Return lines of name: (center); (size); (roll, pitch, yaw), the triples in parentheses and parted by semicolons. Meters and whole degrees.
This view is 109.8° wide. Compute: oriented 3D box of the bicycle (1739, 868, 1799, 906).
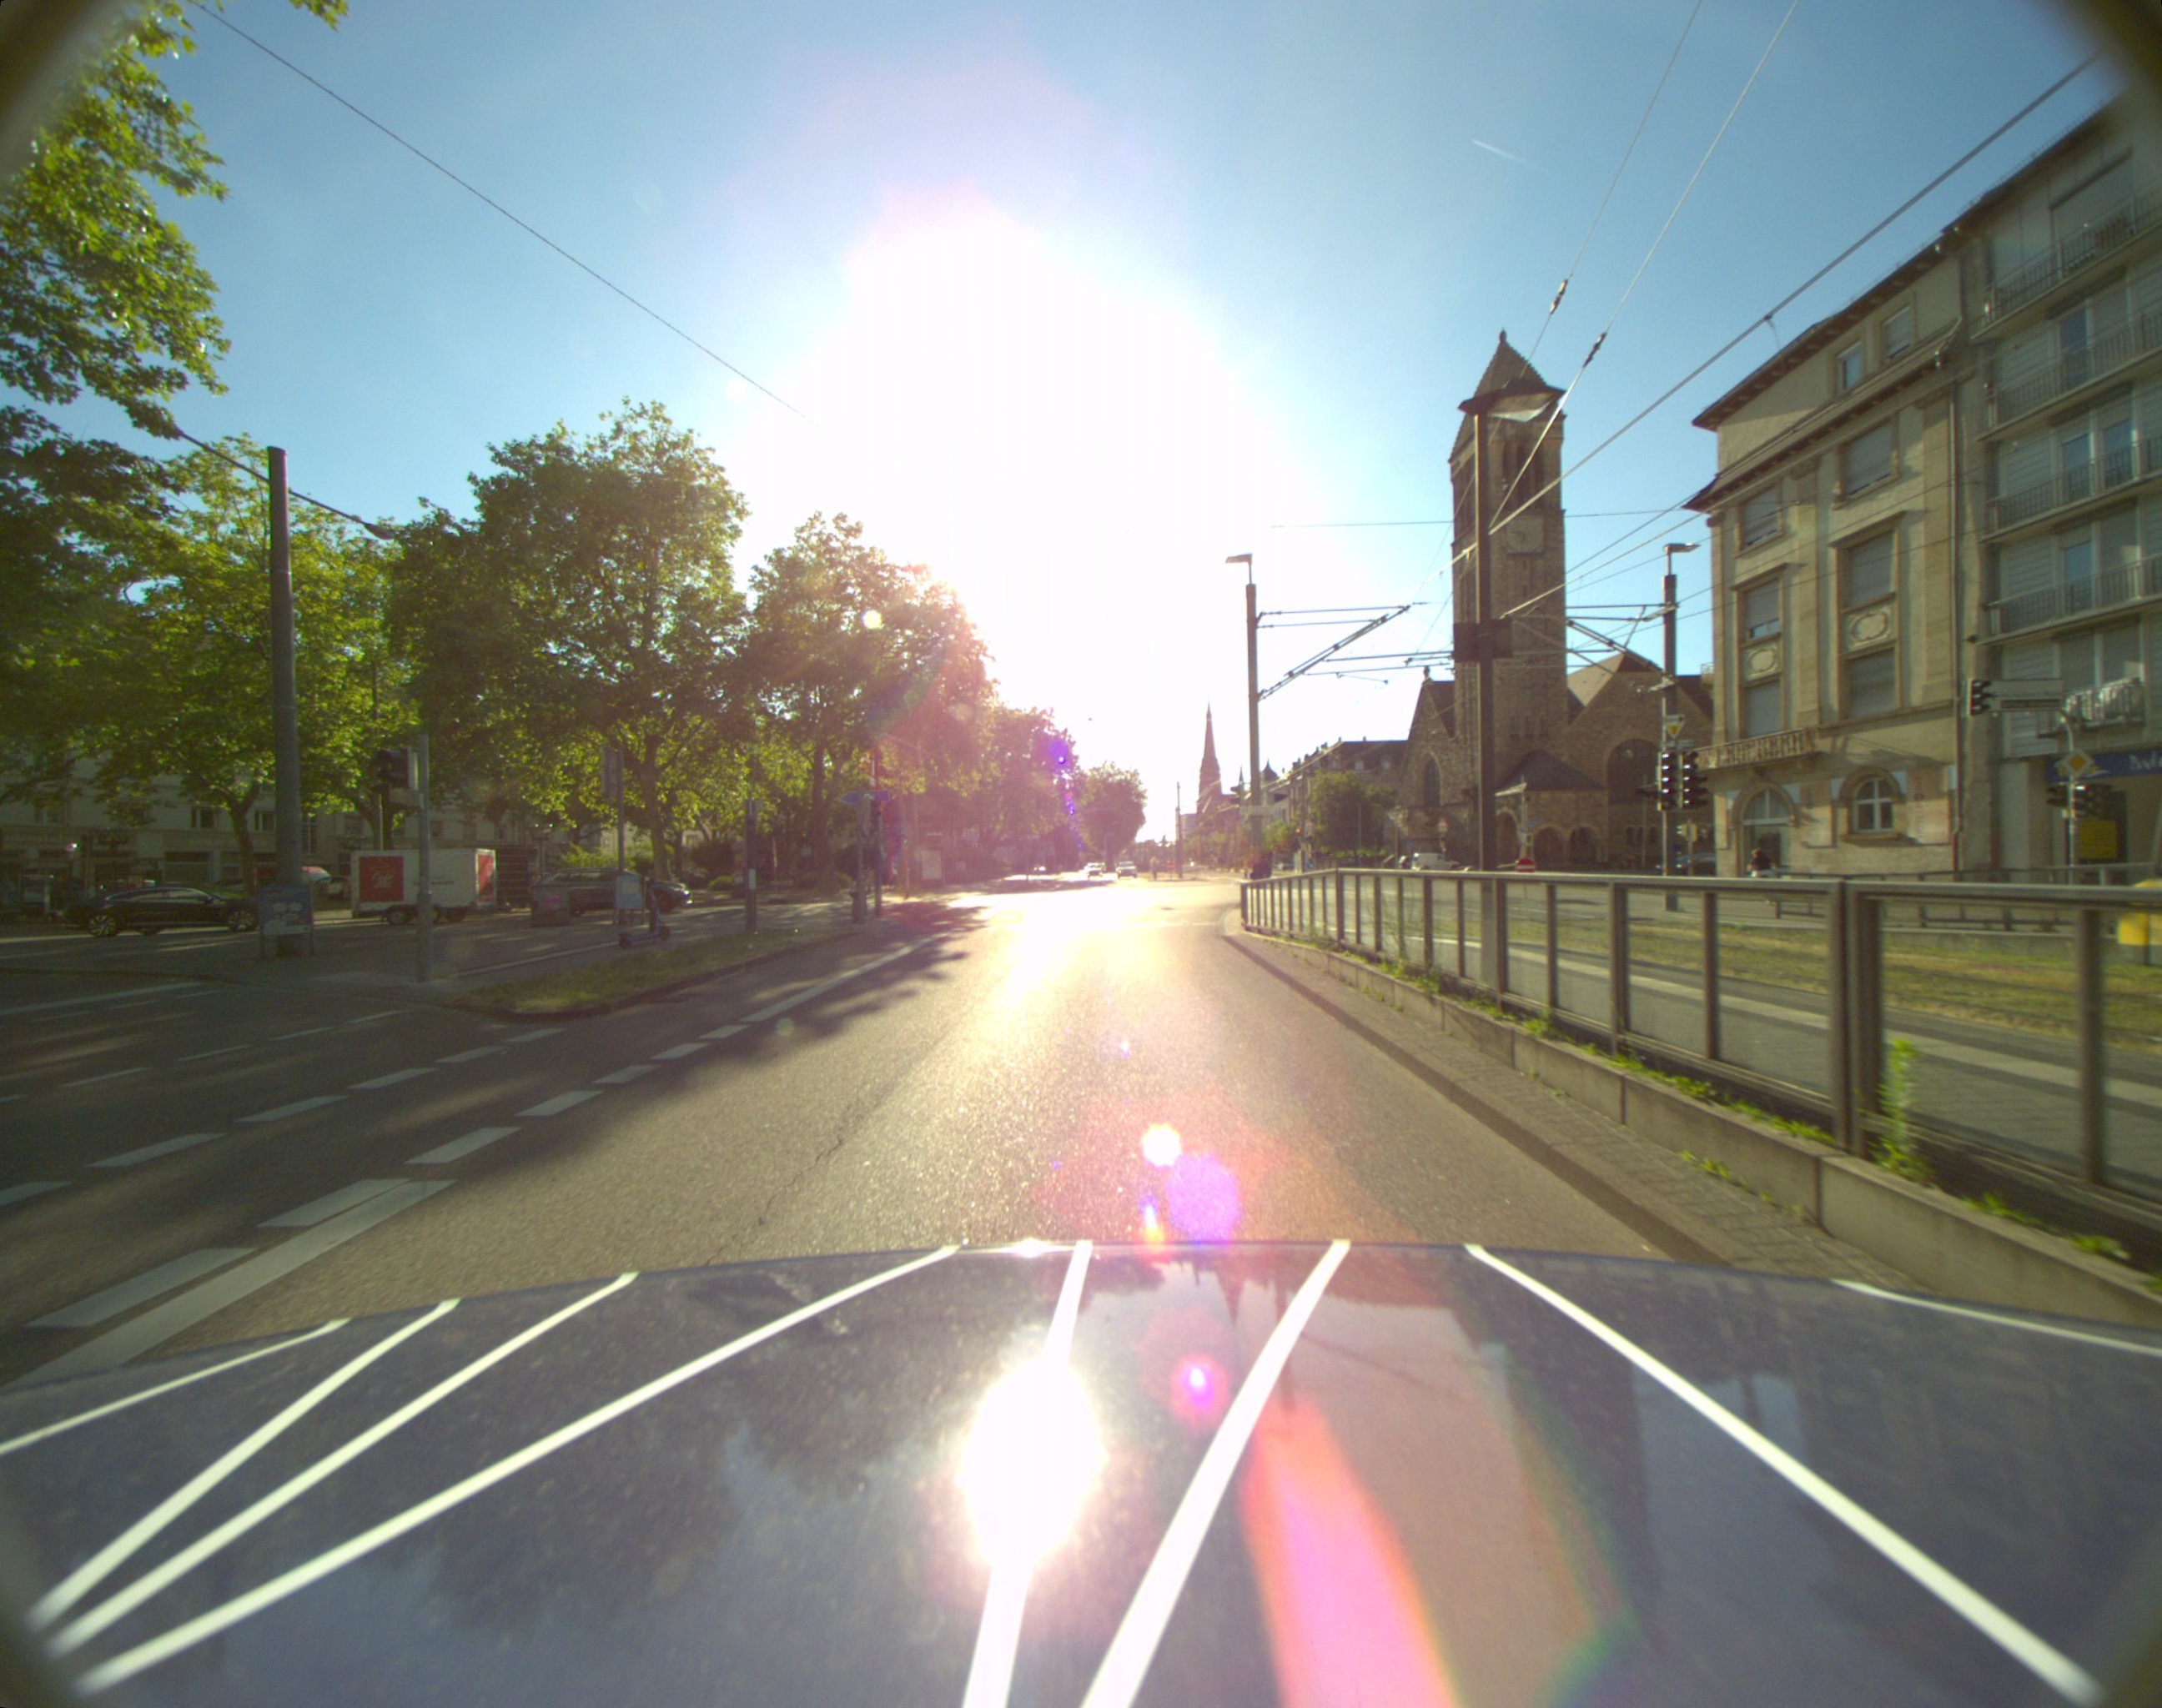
bicycle: (19.904, 0.968, 21.980); (1.827, 1.047, 0.534); (2, -3, -22)

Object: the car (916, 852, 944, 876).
car: (-18.081, 1.142, 91.158); (1.998, 2.726, 4.716); (-3, 0, 3)

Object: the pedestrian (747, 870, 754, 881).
pedestrian: (-37.184, 2.391, 85.518); (0.632, 1.219, 0.539); (-3, 0, -15)

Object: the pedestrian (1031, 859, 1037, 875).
pedestrian: (-5.436, 1.531, 87.914); (0.631, 1.833, 0.540); (-3, 0, 0)

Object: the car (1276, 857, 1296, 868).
car: (29.144, 1.195, 108.064); (1.786, 1.521, 4.215); (-3, 0, 3)

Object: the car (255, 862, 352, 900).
car: (-57.035, 1.942, 55.783); (5.063, 2.651, 2.168); (1, 0, 3)

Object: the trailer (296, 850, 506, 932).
trailer: (-21.328, 1.105, 24.076); (4.519, 2.359, 1.911); (-1, 0, -20)

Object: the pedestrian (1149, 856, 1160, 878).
pedestrian: (5.624, 0.974, 57.932); (0.678, 1.611, 0.925); (-3, 0, 0)

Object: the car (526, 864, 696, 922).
car: (-15.921, 1.277, 26.050); (4.584, 1.630, 1.933); (-3, 0, -20)

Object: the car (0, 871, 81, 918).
car: (-46.397, 1.708, 32.787); (4.348, 1.860, 1.763); (1, 0, 3)

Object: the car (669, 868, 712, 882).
car: (-44.955, 2.388, 87.574); (3.996, 1.400, 1.779); (-3, 0, 3)

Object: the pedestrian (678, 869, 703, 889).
pedestrian: (-25.506, 1.631, 49.657); (1.140, 1.233, 0.791); (-3, 0, 2)

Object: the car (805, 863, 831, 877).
car: (-31.748, 1.947, 91.740); (1.710, 1.650, 4.180); (-2, -1, 0)

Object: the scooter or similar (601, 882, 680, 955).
scooter or similar: (-8.267, 1.190, 14.307); (0.561, 1.250, 1.291); (0, 1, 11)

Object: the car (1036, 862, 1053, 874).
car: (-4.668, 1.778, 97.817); (1.720, 1.319, 3.754); (-3, 0, 3)

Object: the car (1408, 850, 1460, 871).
car: (33.723, 0.586, 72.715); (4.023, 1.795, 1.870); (-3, 0, 3)

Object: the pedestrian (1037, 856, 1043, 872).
pedestrian: (-4.735, 1.166, 87.904); (0.631, 1.833, 0.540); (-3, 0, 0)

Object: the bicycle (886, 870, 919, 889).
bicycle: (-10.526, 1.493, 44.780); (1.827, 1.047, 0.534); (-2, 0, -24)

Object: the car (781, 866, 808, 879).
car: (-34.414, 2.243, 91.321); (1.710, 1.493, 4.180); (-2, -1, 0)

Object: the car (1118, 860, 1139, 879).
car: (4.230, 1.373, 67.925); (1.636, 1.491, 4.001); (-3, 0, 2)

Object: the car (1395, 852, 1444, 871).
car: (33.644, 0.735, 75.548); (4.040, 1.620, 1.769); (-3, 0, 3)

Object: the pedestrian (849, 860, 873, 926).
pedestrian: (-5.634, 0.987, 19.452); (0.429, 1.629, 0.613); (-2, 0, -5)

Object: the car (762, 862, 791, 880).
car: (-36.757, 2.035, 91.831); (1.710, 2.015, 4.180); (-2, -1, 0)

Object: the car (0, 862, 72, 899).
car: (-56.909, 1.402, 40.385); (4.348, 1.860, 1.763); (1, 0, 3)

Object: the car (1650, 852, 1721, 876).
car: (41.500, 0.662, 52.163); (4.290, 1.411, 1.839); (-3, 0, -21)

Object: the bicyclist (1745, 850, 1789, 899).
bicyclist: (19.823, 0.599, 21.954); (1.020, 1.363, 0.534); (2, -3, -22)

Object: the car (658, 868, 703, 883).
car: (-44.878, 2.376, 85.230); (3.996, 1.400, 1.779); (-3, 0, 3)

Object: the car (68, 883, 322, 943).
car: (-25.794, 1.670, 22.354); (4.441, 1.353, 1.933); (-3, 0, -20)
